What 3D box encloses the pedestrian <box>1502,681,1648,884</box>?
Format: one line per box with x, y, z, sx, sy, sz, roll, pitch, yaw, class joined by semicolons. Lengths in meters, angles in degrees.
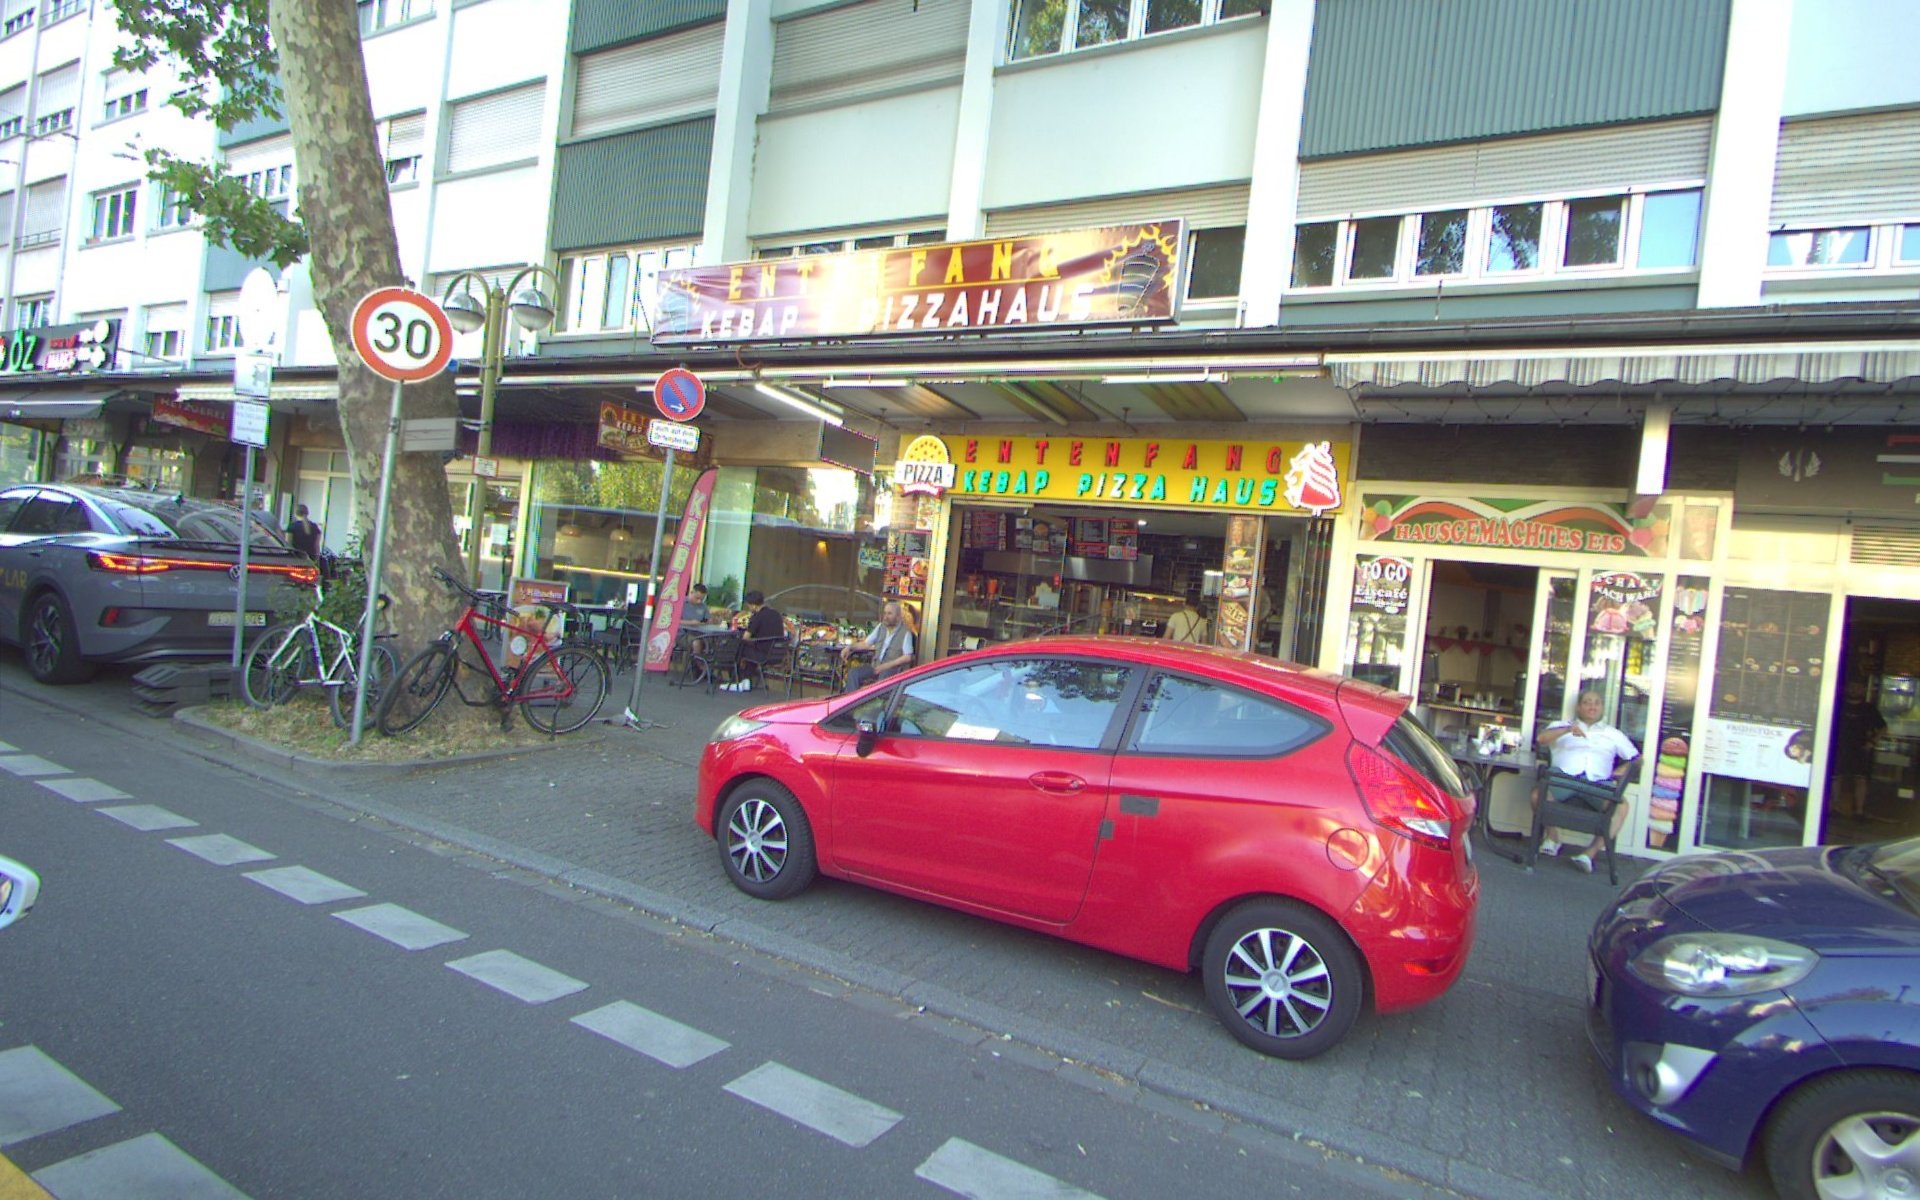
4.655;1.311;7.606;0.767;1.249;1.202;6;3;33;pedestrian

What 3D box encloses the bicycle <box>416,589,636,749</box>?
-3.212;0.499;7.543;0.291;1.082;1.455;12;7;42;bicycle

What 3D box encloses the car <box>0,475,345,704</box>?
-7.818;-0.227;9.198;4.223;1.619;1.742;7;2;27;car

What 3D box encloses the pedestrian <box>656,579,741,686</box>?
-3.212;0.388;12.346;0.694;1.220;0.675;7;3;42;pedestrian

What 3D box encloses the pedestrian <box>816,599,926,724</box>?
-0.957;0.653;10.850;0.861;1.237;0.688;2;4;-44;pedestrian

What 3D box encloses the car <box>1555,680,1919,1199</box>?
3.896;1.250;2.904;3.543;1.486;1.620;7;2;29;car

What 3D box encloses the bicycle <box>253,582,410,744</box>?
-4.424;0.418;7.065;1.110;0.941;0.295;9;6;21;bicycle

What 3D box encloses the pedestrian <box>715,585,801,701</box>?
-2.367;0.494;11.783;0.701;1.260;0.614;7;3;41;pedestrian

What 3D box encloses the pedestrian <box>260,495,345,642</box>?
-9.553;-0.445;14.622;0.684;2.039;0.613;7;1;29;pedestrian

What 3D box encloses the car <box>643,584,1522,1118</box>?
0.495;0.857;4.978;3.780;1.448;1.668;7;2;27;car

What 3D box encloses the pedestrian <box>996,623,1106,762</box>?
0.853;0.838;9.395;0.740;1.172;0.593;6;3;33;pedestrian

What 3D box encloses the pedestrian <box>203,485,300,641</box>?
-9.757;-0.492;13.863;0.684;2.039;0.692;7;1;26;pedestrian

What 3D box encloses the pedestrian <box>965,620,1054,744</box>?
0.514;0.821;10.366;0.585;1.172;0.671;6;3;31;pedestrian
